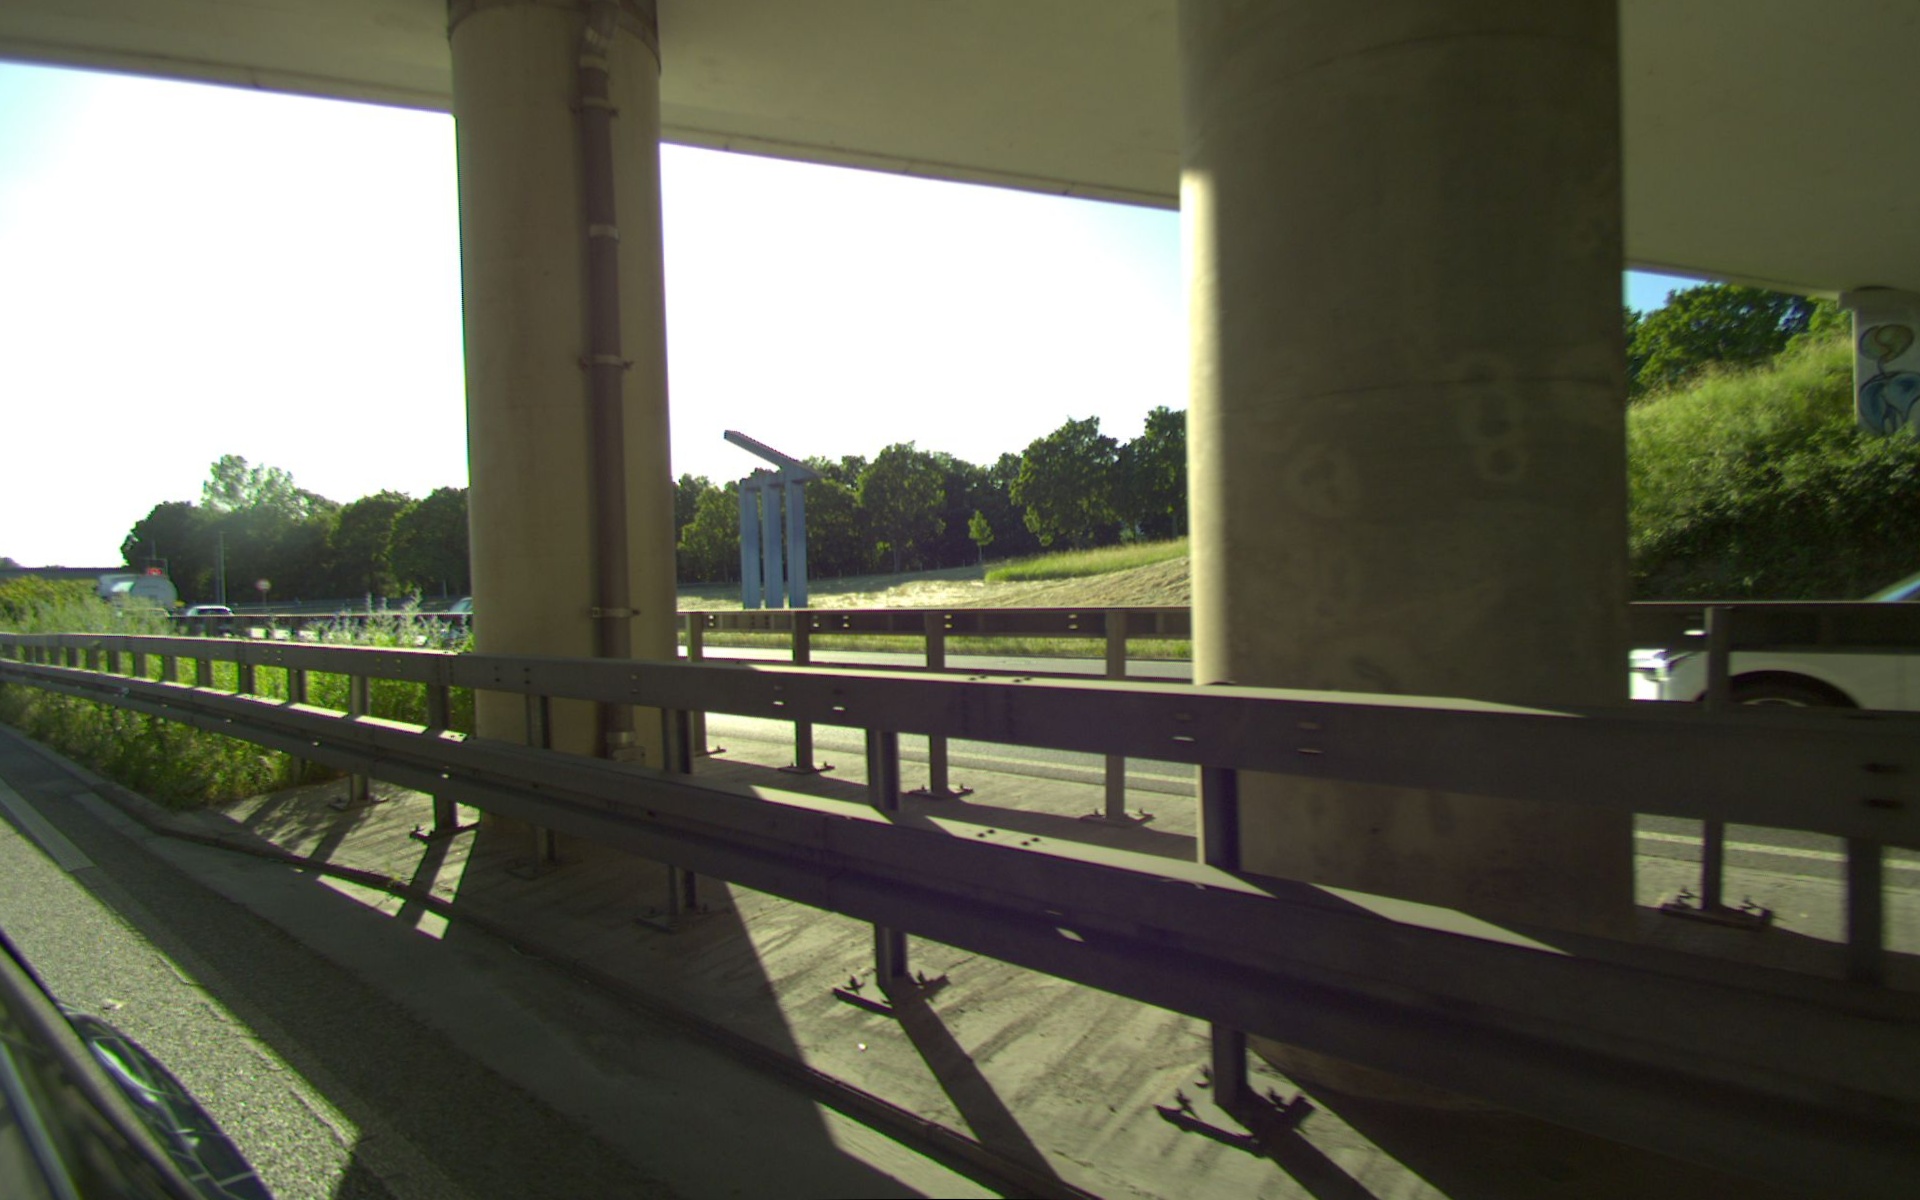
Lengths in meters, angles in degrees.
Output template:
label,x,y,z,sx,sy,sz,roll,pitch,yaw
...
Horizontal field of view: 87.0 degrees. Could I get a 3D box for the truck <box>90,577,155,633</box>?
label,x,y,z,sx,sy,sz,roll,pitch,yaw
truck,-56.929,0.358,68.754,5.324,3.685,2.746,-1,0,43

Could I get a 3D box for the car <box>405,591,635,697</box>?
label,x,y,z,sx,sy,sz,roll,pitch,yaw
car,-7.274,0.670,16.565,4.221,1.517,1.731,-1,0,40

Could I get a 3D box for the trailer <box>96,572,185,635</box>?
label,x,y,z,sx,sy,sz,roll,pitch,yaw
trailer,-52.242,0.290,64.350,12.205,3.685,2.746,-1,0,43

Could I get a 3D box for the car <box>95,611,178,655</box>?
label,x,y,z,sx,sy,sz,roll,pitch,yaw
car,-30.229,1.197,37.125,4.109,1.454,1.742,-1,1,42

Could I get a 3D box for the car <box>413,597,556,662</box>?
label,x,y,z,sx,sy,sz,roll,pitch,yaw
car,-12.354,0.737,26.174,4.456,1.517,1.730,-1,0,42

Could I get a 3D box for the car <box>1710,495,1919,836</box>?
label,x,y,z,sx,sy,sz,roll,pitch,yaw
car,5.938,0.278,4.572,3.997,1.586,1.718,-1,-1,40

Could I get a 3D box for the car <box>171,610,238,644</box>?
label,x,y,z,sx,sy,sz,roll,pitch,yaw
car,-35.289,1.261,47.238,4.110,1.454,1.742,-1,1,43
